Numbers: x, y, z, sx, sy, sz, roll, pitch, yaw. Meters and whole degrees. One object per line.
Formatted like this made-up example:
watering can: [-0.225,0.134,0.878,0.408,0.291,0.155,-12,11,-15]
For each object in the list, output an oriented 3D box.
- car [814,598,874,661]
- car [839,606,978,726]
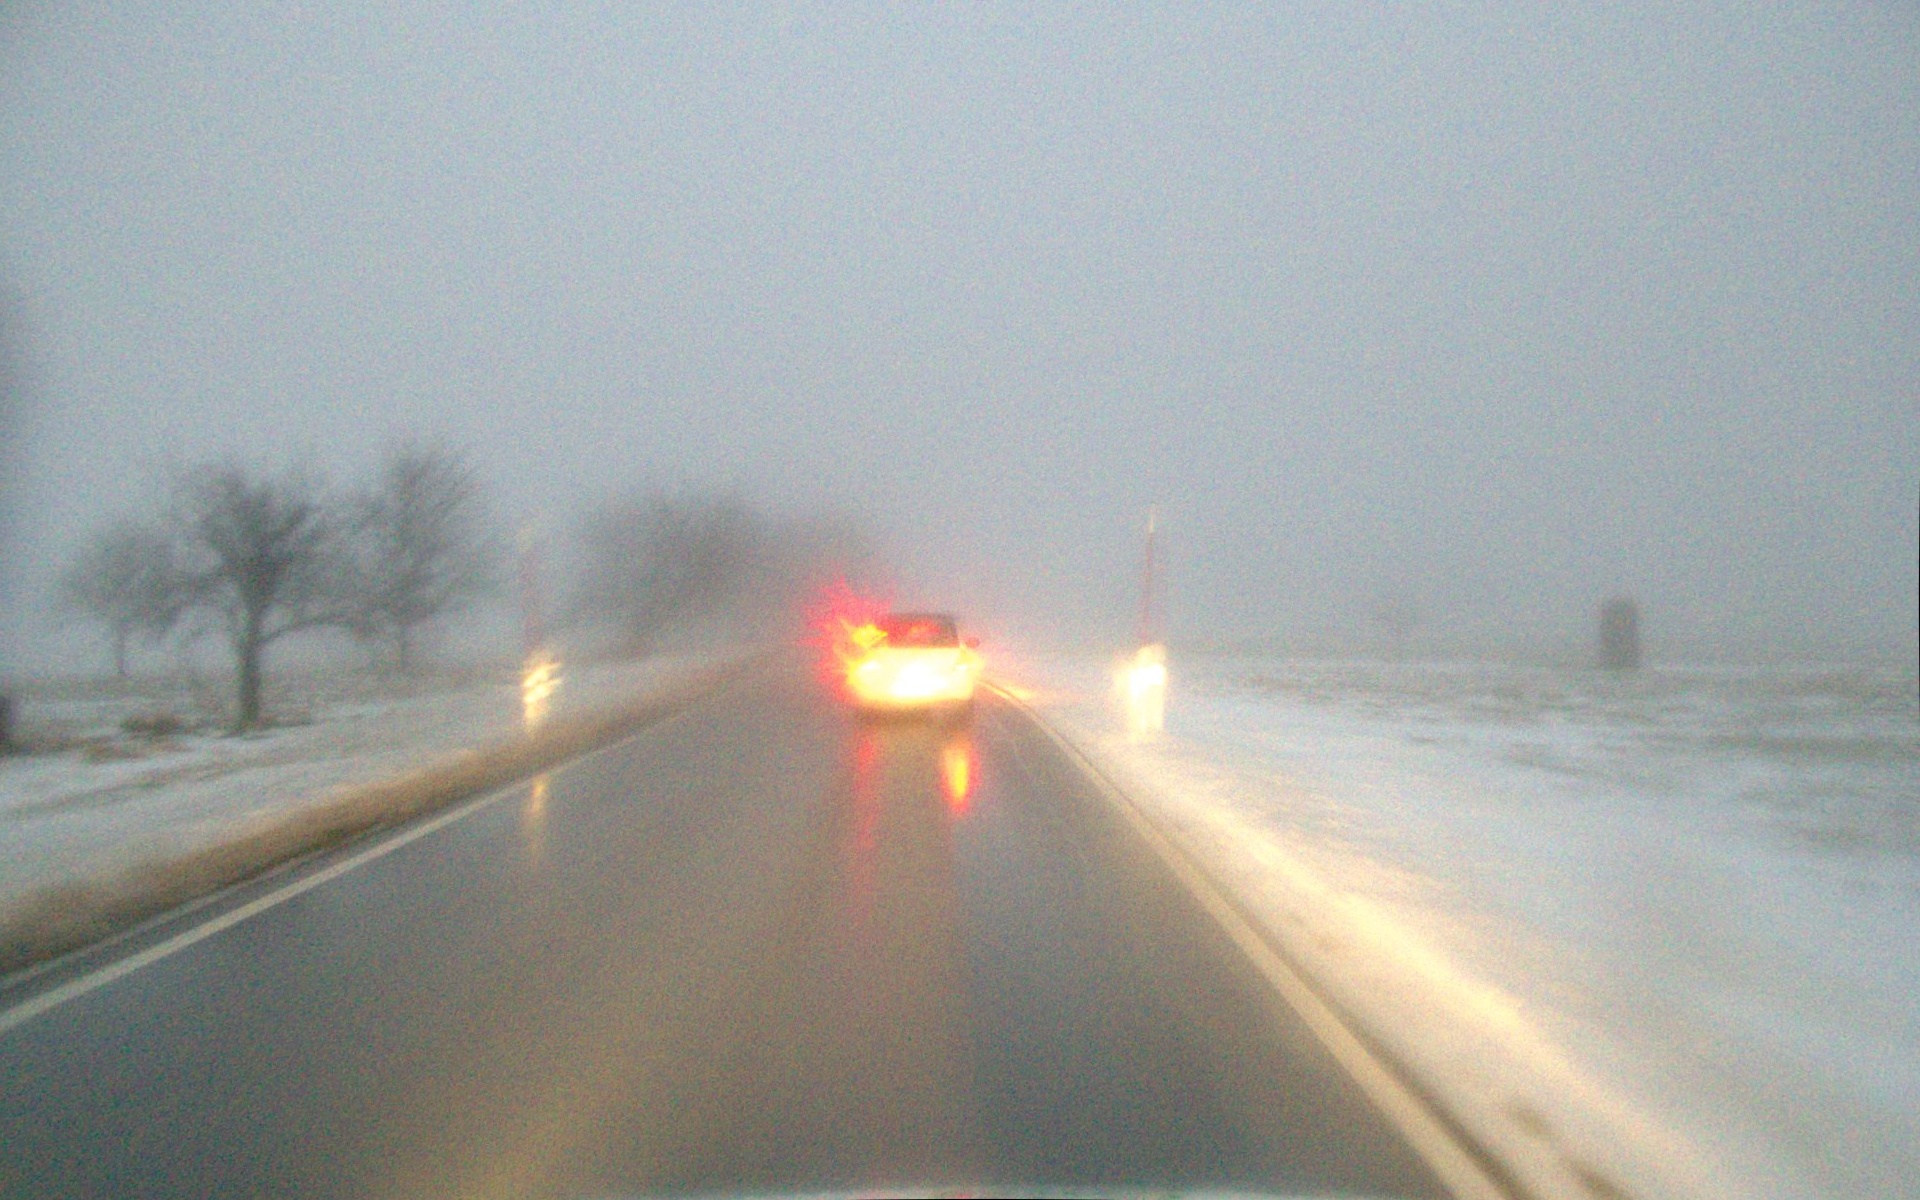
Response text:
car: [-2.953,0.760,42.361,1.449,1.534,3.051,-1,-1,-3]
car: [-0.798,0.856,22.940,1.674,1.489,3.995,1,-1,-5]
